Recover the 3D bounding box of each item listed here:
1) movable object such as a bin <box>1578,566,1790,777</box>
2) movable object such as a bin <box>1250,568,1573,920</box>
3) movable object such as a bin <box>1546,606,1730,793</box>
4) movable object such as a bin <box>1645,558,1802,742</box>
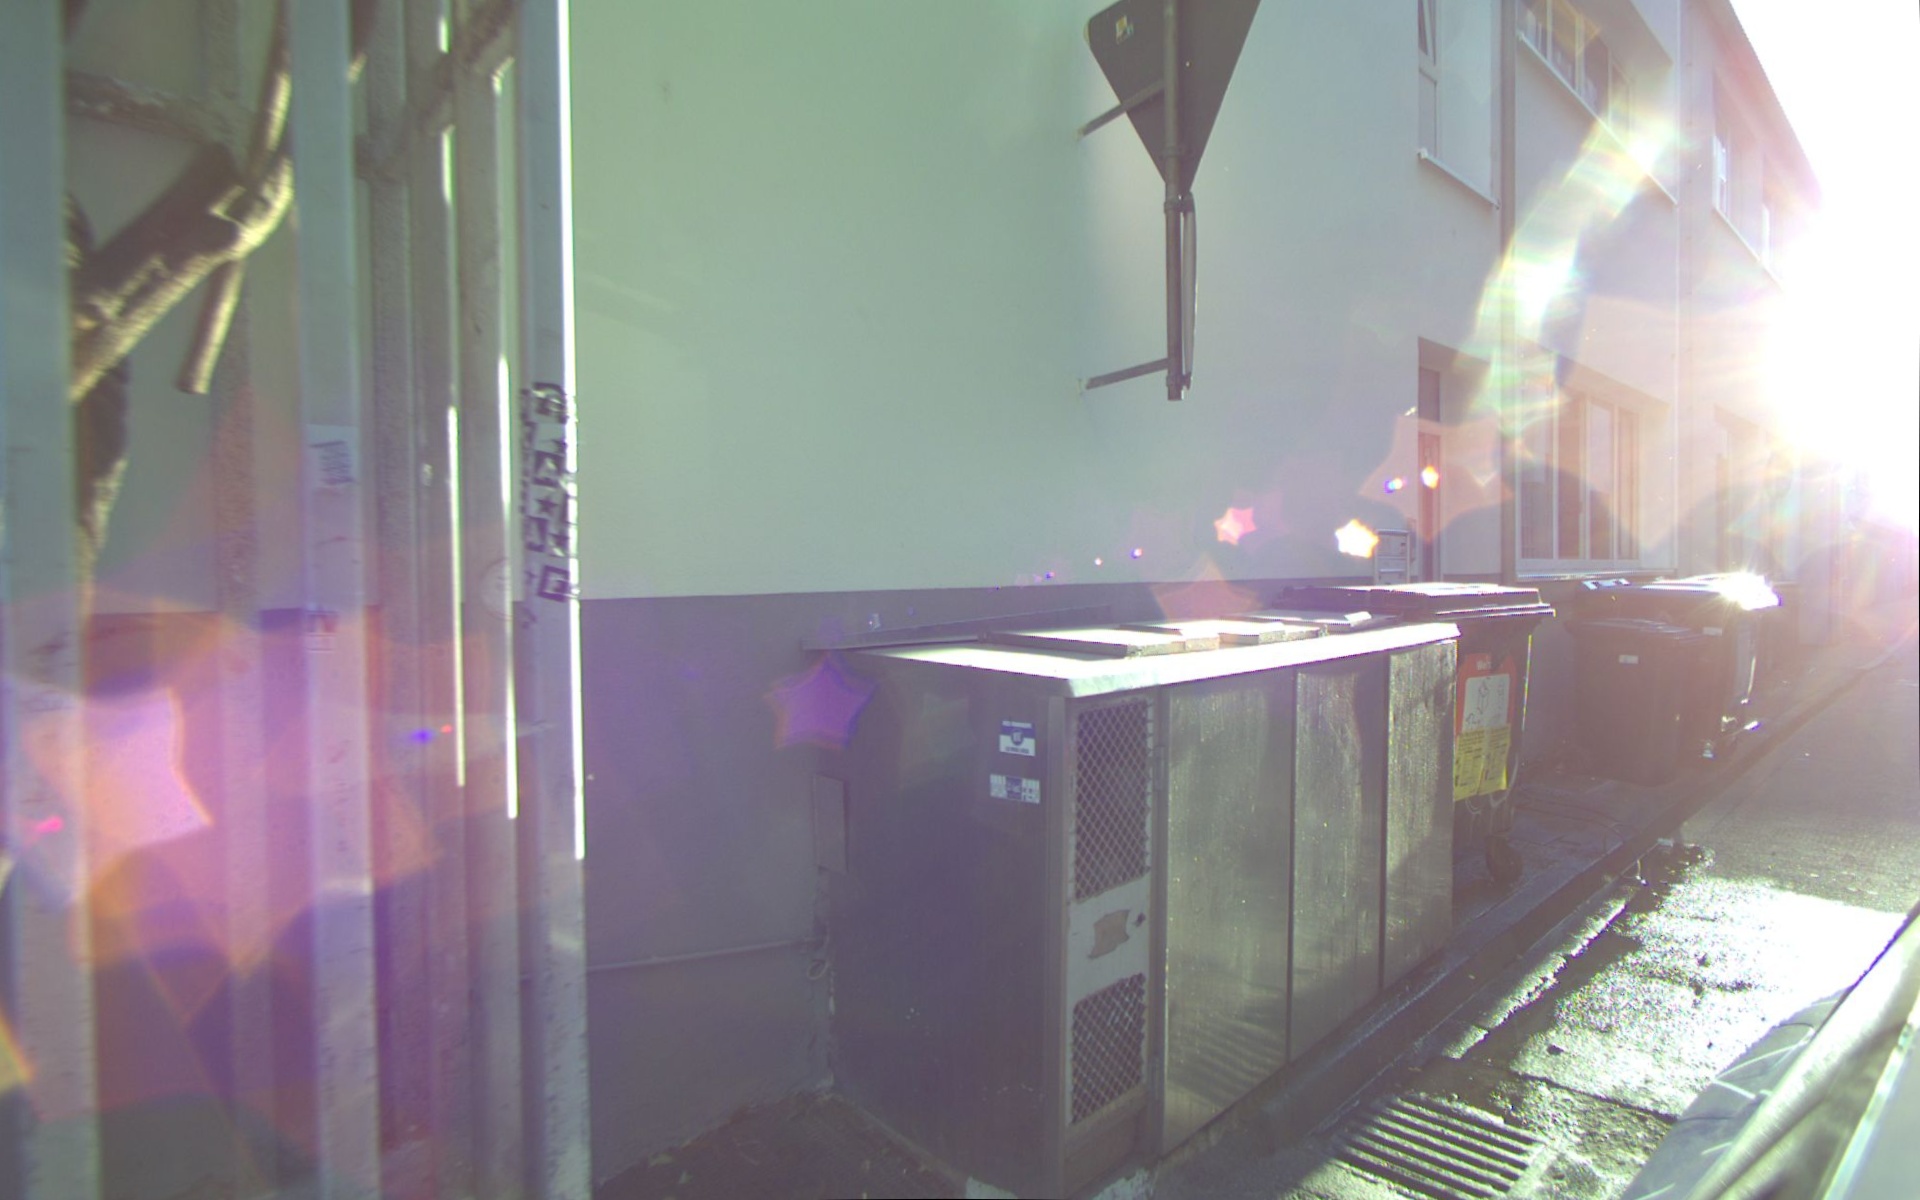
[{"bbox_3d":[5.473,0.453,7.643,1.065,1.383,1.321,4,4,44],"label":"movable object such as a bin"},{"bbox_3d":[2.061,0.533,4.598,1.267,1.320,0.837,-2,4,-40],"label":"movable object such as a bin"},{"bbox_3d":[4.574,0.624,6.841,0.726,1.088,0.870,-2,4,-45],"label":"movable object such as a bin"},{"bbox_3d":[6.487,0.354,8.578,0.936,1.383,1.323,4,4,40],"label":"movable object such as a bin"}]
